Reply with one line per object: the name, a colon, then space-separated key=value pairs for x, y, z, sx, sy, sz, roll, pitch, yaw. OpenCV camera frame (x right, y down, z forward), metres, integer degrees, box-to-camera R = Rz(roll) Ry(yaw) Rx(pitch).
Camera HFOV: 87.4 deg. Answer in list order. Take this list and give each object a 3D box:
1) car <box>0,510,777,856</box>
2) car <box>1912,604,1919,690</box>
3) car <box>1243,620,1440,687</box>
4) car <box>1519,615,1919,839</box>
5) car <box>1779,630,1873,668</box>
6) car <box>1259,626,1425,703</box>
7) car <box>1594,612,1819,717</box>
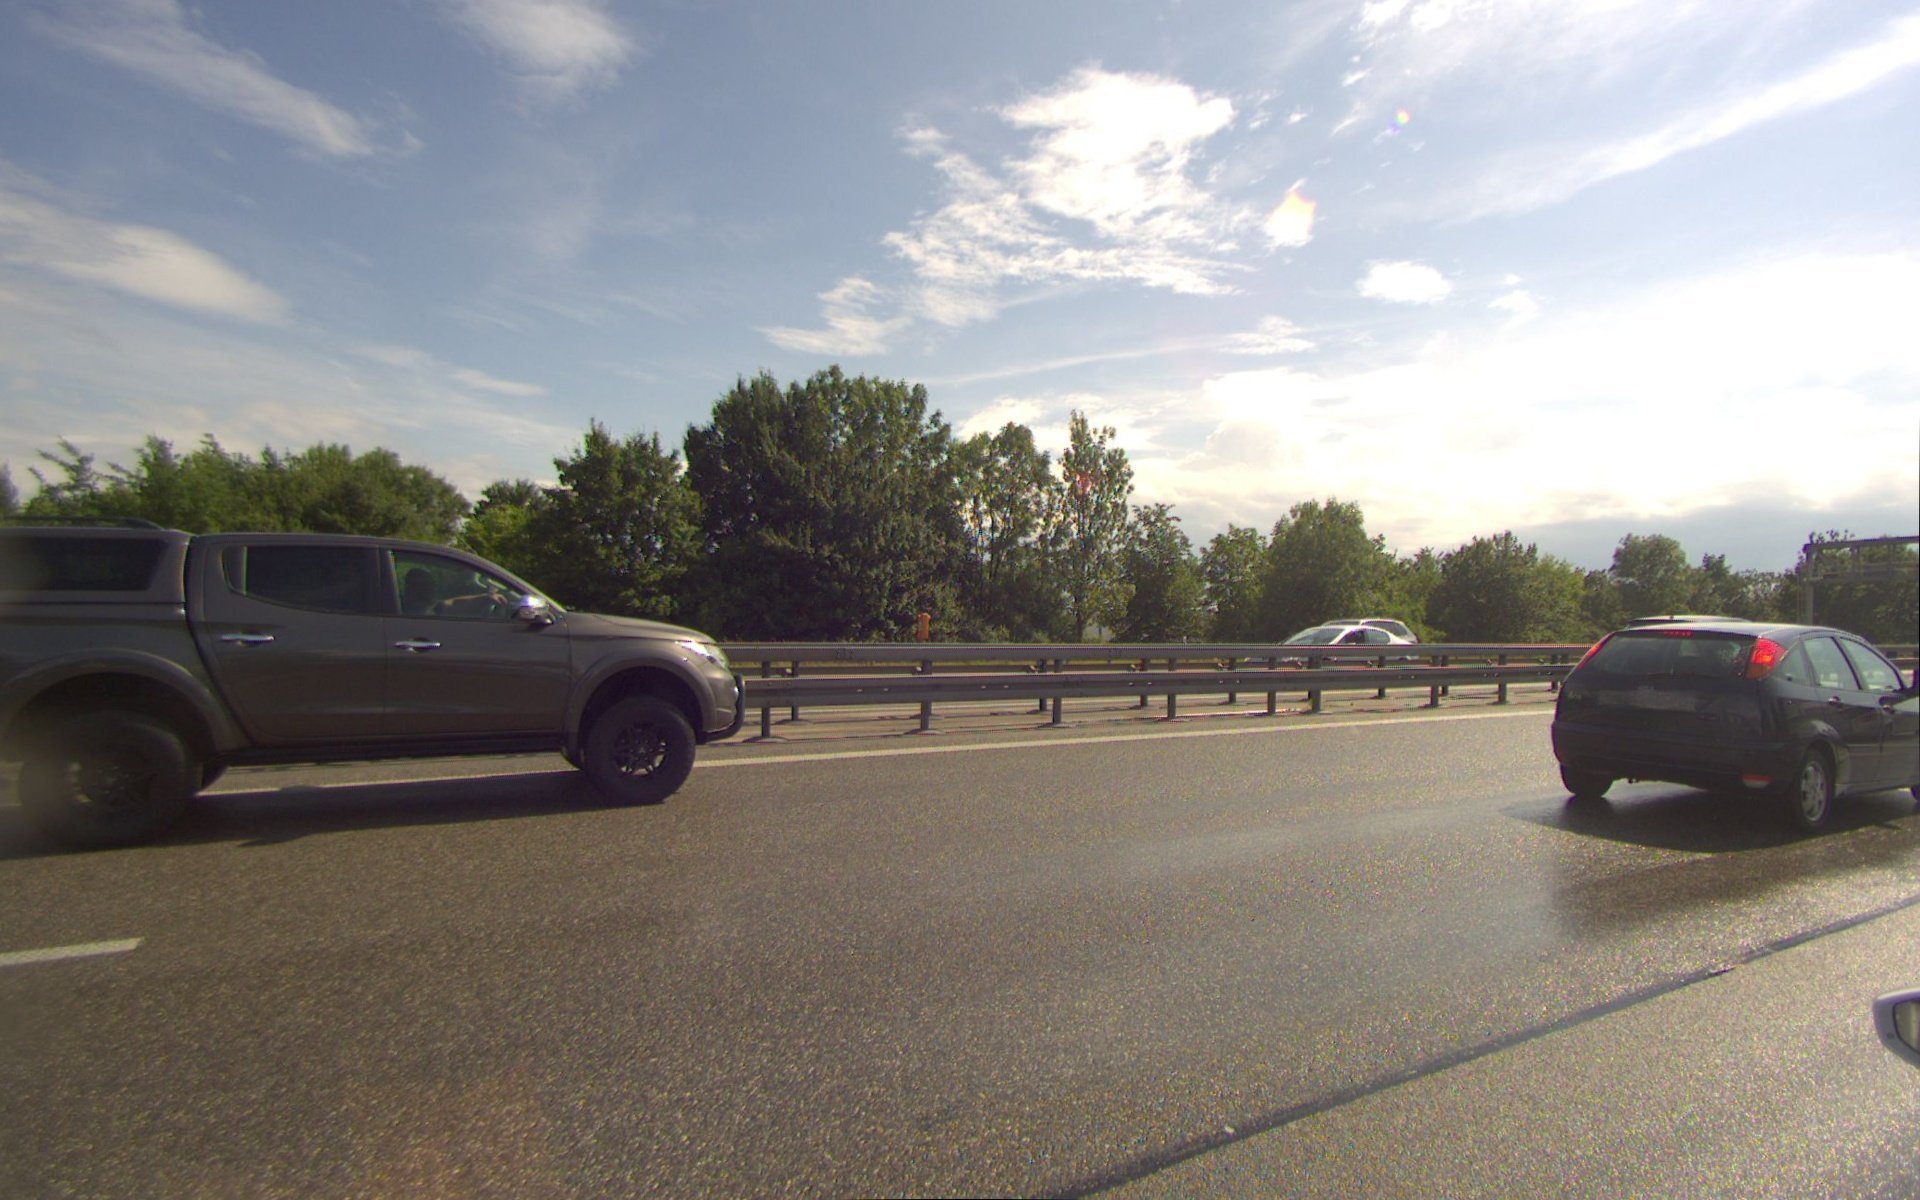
car: x=-4.155 y=0.479 z=7.049 sx=5.354 sy=1.869 sz=1.798 roll=1 pitch=0 yaw=-30
car: x=24.550 y=1.128 z=23.675 sx=4.959 sy=1.959 sz=1.838 roll=1 pitch=0 yaw=-31
car: x=8.808 y=1.188 z=23.132 sx=4.440 sy=1.372 sz=1.859 roll=1 pitch=0 yaw=-30
car: x=6.720 y=0.895 z=8.447 sx=3.953 sy=1.462 sz=1.750 roll=1 pitch=0 yaw=-30
car: x=35.251 y=1.968 z=40.858 sx=3.957 sy=1.409 sz=1.851 roll=2 pitch=0 yaw=-33
car: x=11.267 y=1.858 z=29.532 sx=5.020 sy=2.040 sz=1.842 roll=2 pitch=0 yaw=-31
car: x=12.960 y=1.050 z=17.403 sx=3.871 sy=1.599 sz=1.774 roll=1 pitch=0 yaw=-31
